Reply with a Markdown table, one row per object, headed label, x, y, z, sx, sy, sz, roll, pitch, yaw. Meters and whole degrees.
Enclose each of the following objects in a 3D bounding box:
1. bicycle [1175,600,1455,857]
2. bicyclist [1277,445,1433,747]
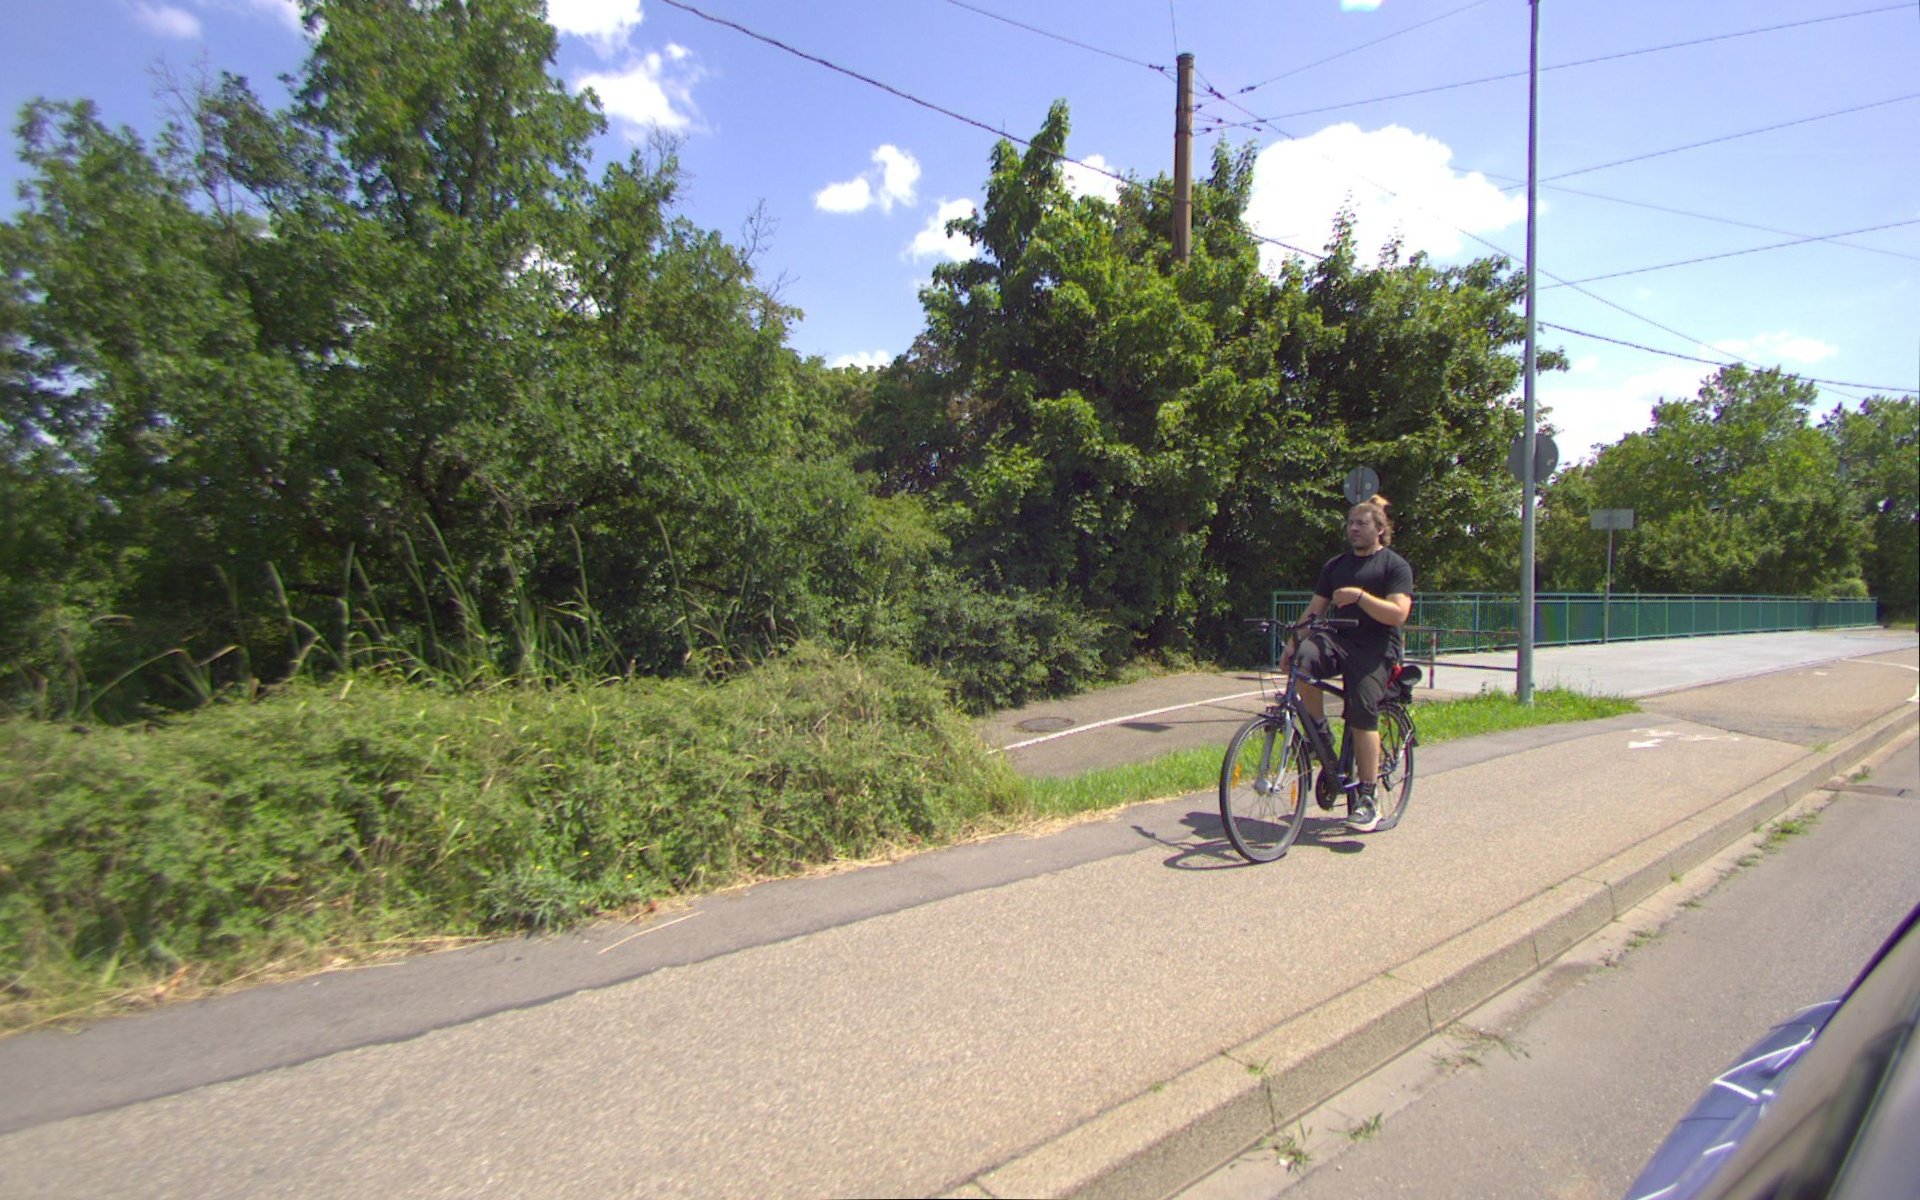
| label | x | y | z | sx | sy | sz | roll | pitch | yaw |
| --- | --- | --- | --- | --- | --- | --- | --- | --- | --- |
| bicycle | 1.913 | 0.600 | 5.313 | 1.820 | 1.167 | 0.433 | 1 | -2 | -36 |
| bicyclist | 2.129 | -0.017 | 5.478 | 0.547 | 1.514 | 0.587 | 2 | -2 | -36 |
